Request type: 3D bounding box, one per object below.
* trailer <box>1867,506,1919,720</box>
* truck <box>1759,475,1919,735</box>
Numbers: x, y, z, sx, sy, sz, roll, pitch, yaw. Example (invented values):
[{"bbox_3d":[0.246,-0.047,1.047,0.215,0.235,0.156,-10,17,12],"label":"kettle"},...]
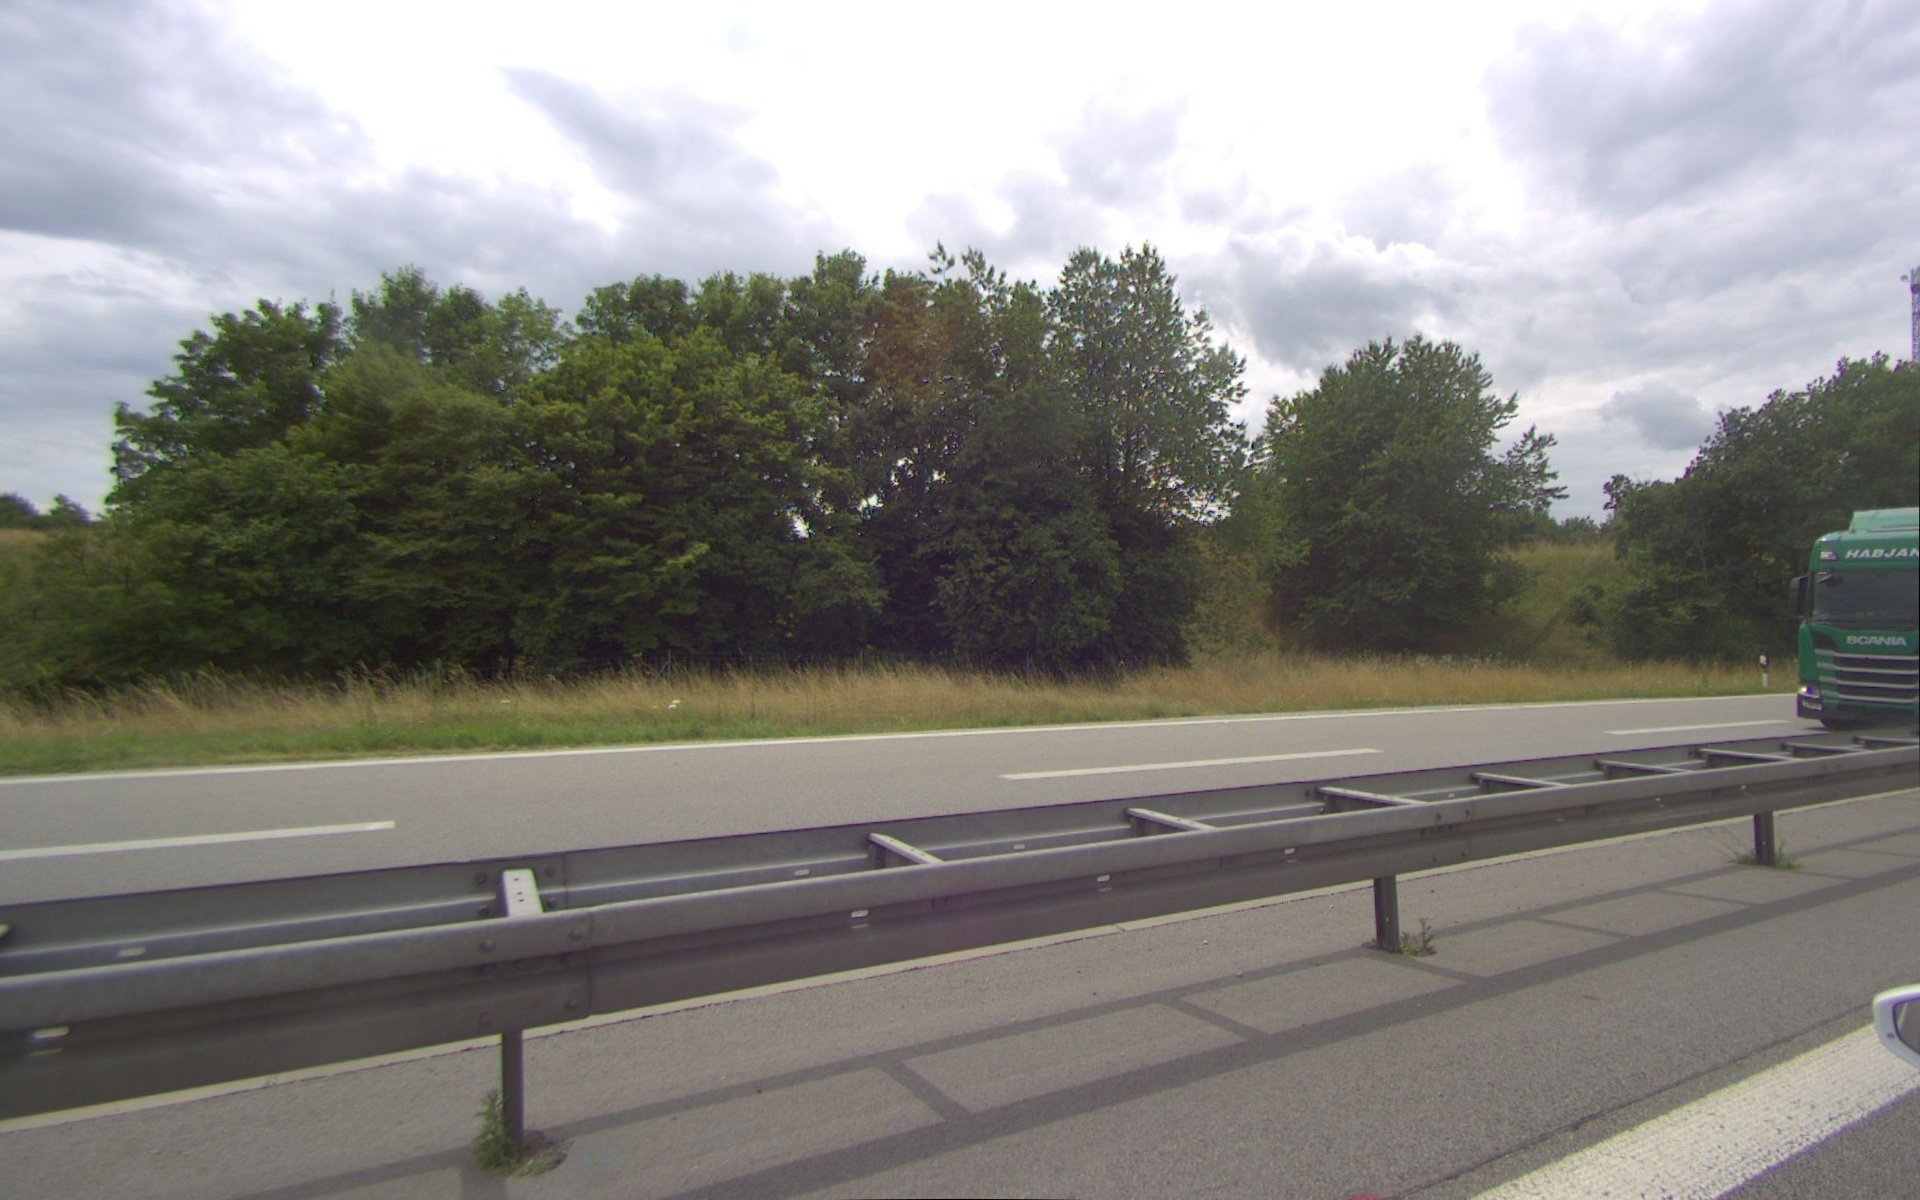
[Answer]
[{"bbox_3d":[24.565,0.475,22.240,11.503,4.269,3.136,2,0,-30],"label":"trailer"},{"bbox_3d":[18.329,0.194,18.669,6.701,4.269,3.108,2,0,-30],"label":"truck"}]
